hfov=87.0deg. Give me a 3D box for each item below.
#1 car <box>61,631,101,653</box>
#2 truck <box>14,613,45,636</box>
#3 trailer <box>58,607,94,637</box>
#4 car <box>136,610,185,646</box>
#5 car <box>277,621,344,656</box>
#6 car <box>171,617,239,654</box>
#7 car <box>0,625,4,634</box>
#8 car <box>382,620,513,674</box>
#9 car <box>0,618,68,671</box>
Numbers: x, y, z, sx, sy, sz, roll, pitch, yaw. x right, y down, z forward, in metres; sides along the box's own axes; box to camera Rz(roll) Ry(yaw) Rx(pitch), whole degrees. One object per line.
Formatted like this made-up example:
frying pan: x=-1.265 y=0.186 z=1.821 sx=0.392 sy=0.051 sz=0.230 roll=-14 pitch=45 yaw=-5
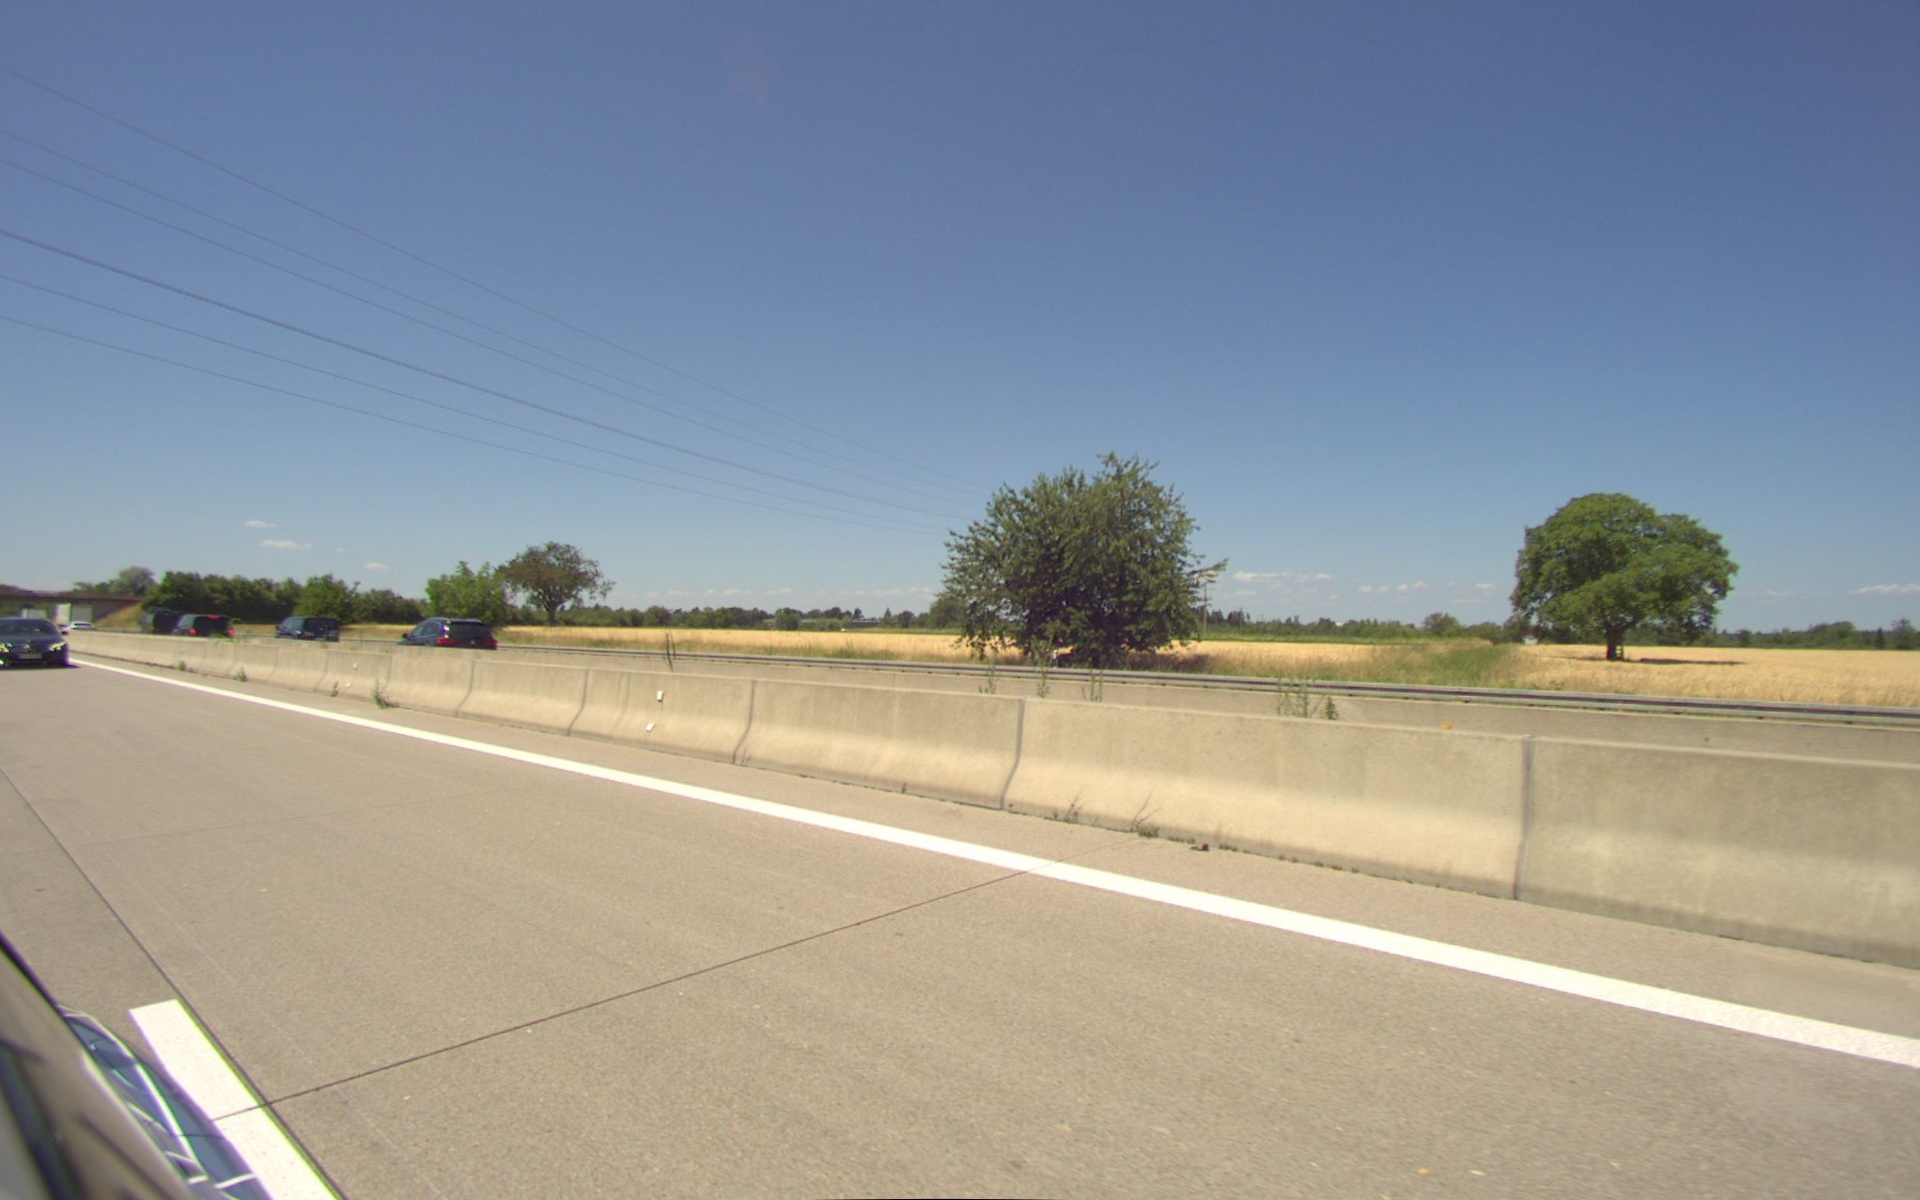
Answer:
car: x=-70.332 y=3.320 z=80.932 sx=5.107 sy=1.665 sz=1.852 roll=-1 pitch=-1 yaw=42
truck: x=-133.480 y=3.492 z=145.149 sx=7.922 sy=3.166 sz=2.519 roll=-1 pitch=-2 yaw=43
trailer: x=-126.703 y=3.136 z=144.945 sx=12.680 sy=4.075 sz=2.789 roll=-1 pitch=-1 yaw=44
car: x=-64.825 y=2.252 z=82.042 sx=6.793 sy=2.807 sz=2.223 roll=-1 pitch=-1 yaw=44
car: x=-35.316 y=2.040 z=55.000 sx=4.001 sy=1.803 sz=2.146 roll=-1 pitch=-1 yaw=43
car: x=-40.059 y=1.858 z=53.651 sx=5.826 sy=1.840 sz=1.971 roll=-1 pitch=-1 yaw=44
car: x=-138.886 y=4.226 z=145.563 sx=4.494 sy=1.362 sz=1.826 roll=-1 pitch=-3 yaw=44
car: x=-15.407 y=1.345 z=30.336 sx=4.681 sy=1.459 sz=1.972 roll=-1 pitch=-1 yaw=42
car: x=-28.748 y=1.304 z=30.544 sx=6.345 sy=1.482 sz=1.972 roll=-1 pitch=-3 yaw=42
